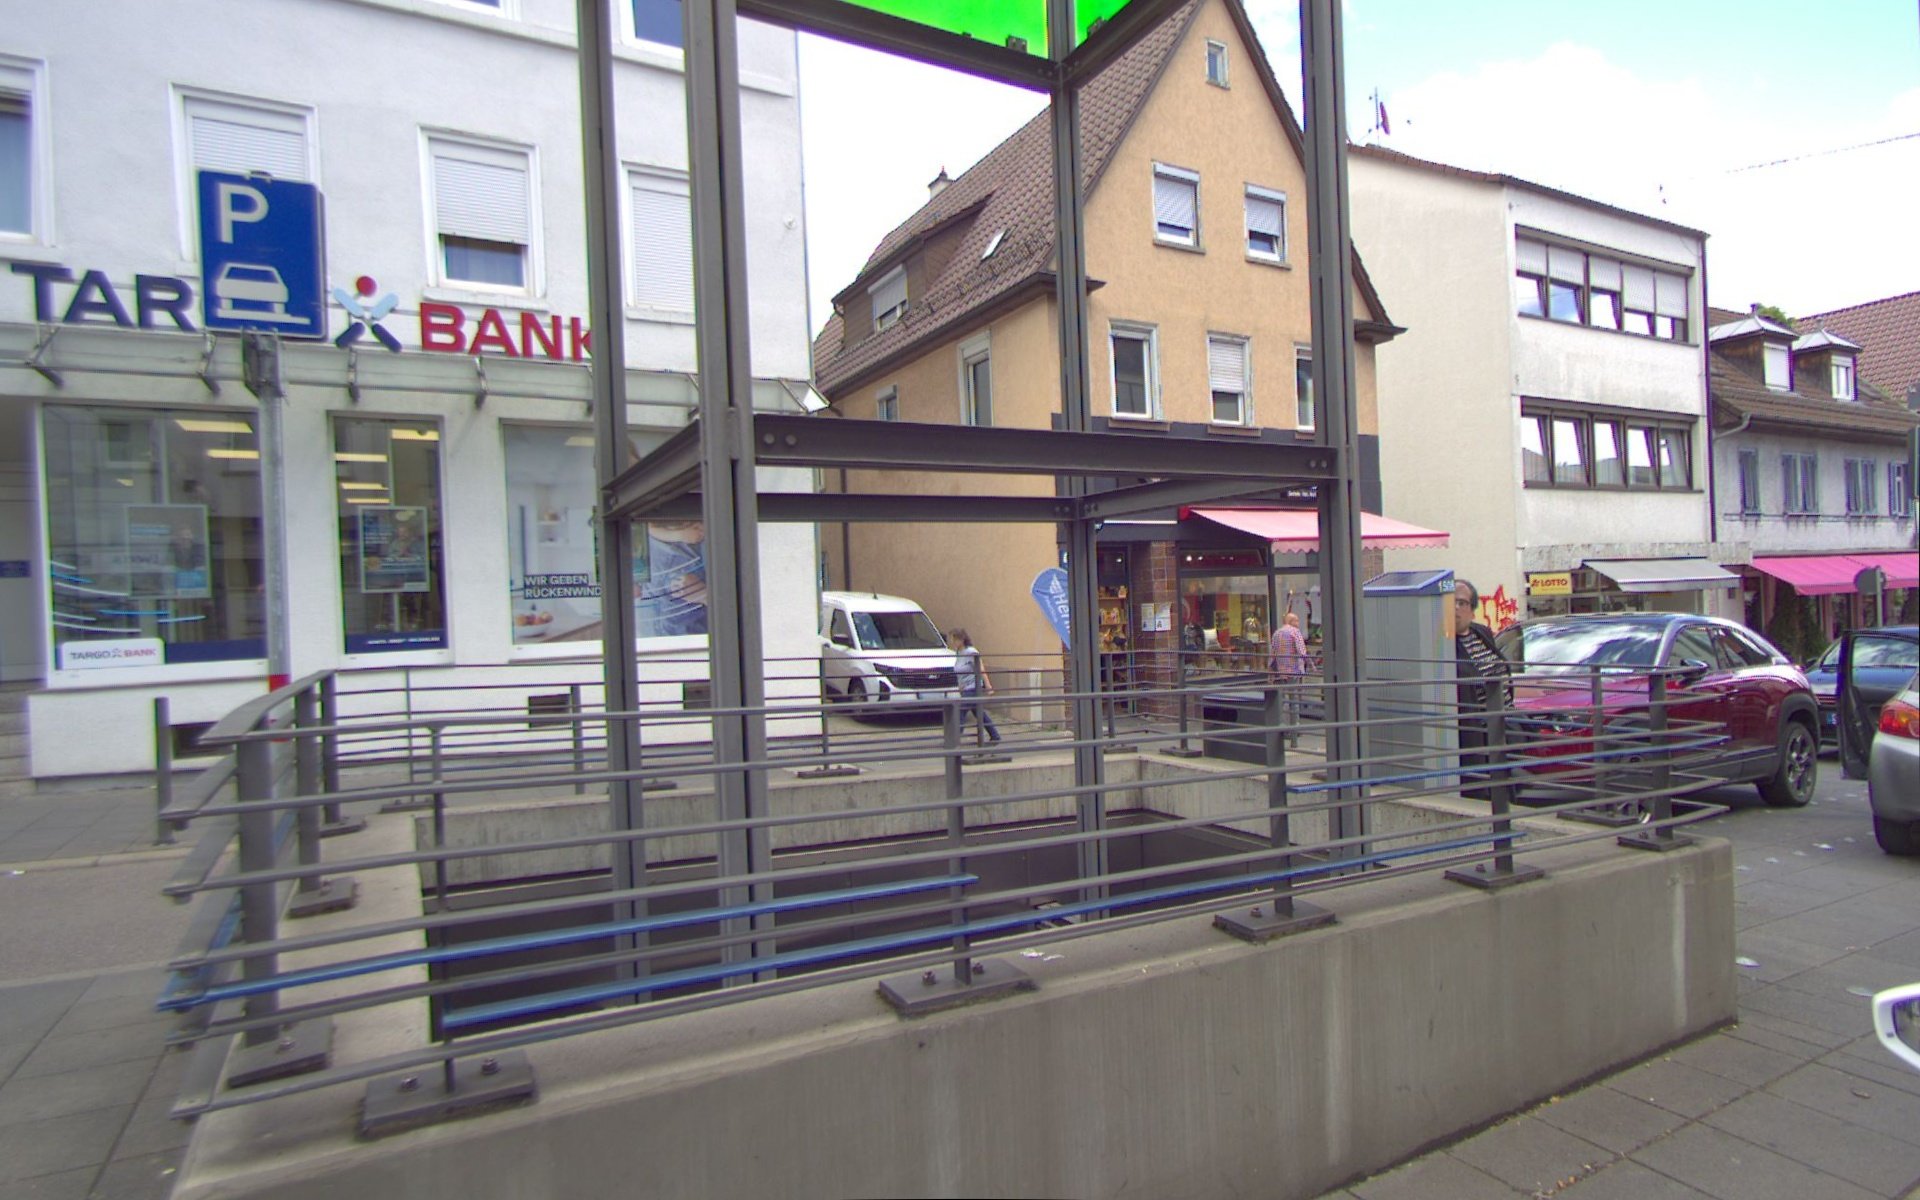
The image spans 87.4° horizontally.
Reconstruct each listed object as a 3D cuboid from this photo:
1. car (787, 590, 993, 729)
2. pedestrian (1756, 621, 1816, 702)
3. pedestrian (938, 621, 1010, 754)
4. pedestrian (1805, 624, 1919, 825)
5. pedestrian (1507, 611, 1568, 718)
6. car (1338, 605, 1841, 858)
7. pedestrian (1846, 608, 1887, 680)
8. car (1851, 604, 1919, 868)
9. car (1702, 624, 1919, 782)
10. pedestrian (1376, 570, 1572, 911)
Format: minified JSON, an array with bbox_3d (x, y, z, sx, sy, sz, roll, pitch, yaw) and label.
[{"bbox_3d":[-1.272,0.829,16.282,1.859,1.898,4.054,0,1,-28],"label":"car"},{"bbox_3d":[16.523,1.209,20.095,0.936,1.559,0.660,1,-1,-33],"label":"pedestrian"},{"bbox_3d":[0.171,1.076,12.508,0.708,1.594,0.562,1,-3,-30],"label":"pedestrian"},{"bbox_3d":[6.812,0.912,7.593,0.486,1.450,0.464,1,-3,-30],"label":"pedestrian"},{"bbox_3d":[9.437,1.048,16.431,0.653,1.711,0.646,-1,-1,10],"label":"pedestrian"},{"bbox_3d":[5.149,0.867,8.087,4.145,1.563,1.730,1,0,-31],"label":"car"},{"bbox_3d":[22.133,1.068,24.535,0.570,1.711,0.575,1,0,-31],"label":"pedestrian"},{"bbox_3d":[7.468,0.841,6.430,3.628,1.553,1.612,1,0,-31],"label":"car"},{"bbox_3d":[10.465,1.065,11.564,3.839,1.495,1.730,1,0,-31],"label":"car"},{"bbox_3d":[2.783,0.703,5.444,0.889,1.694,0.531,0,0,-28],"label":"pedestrian"}]
